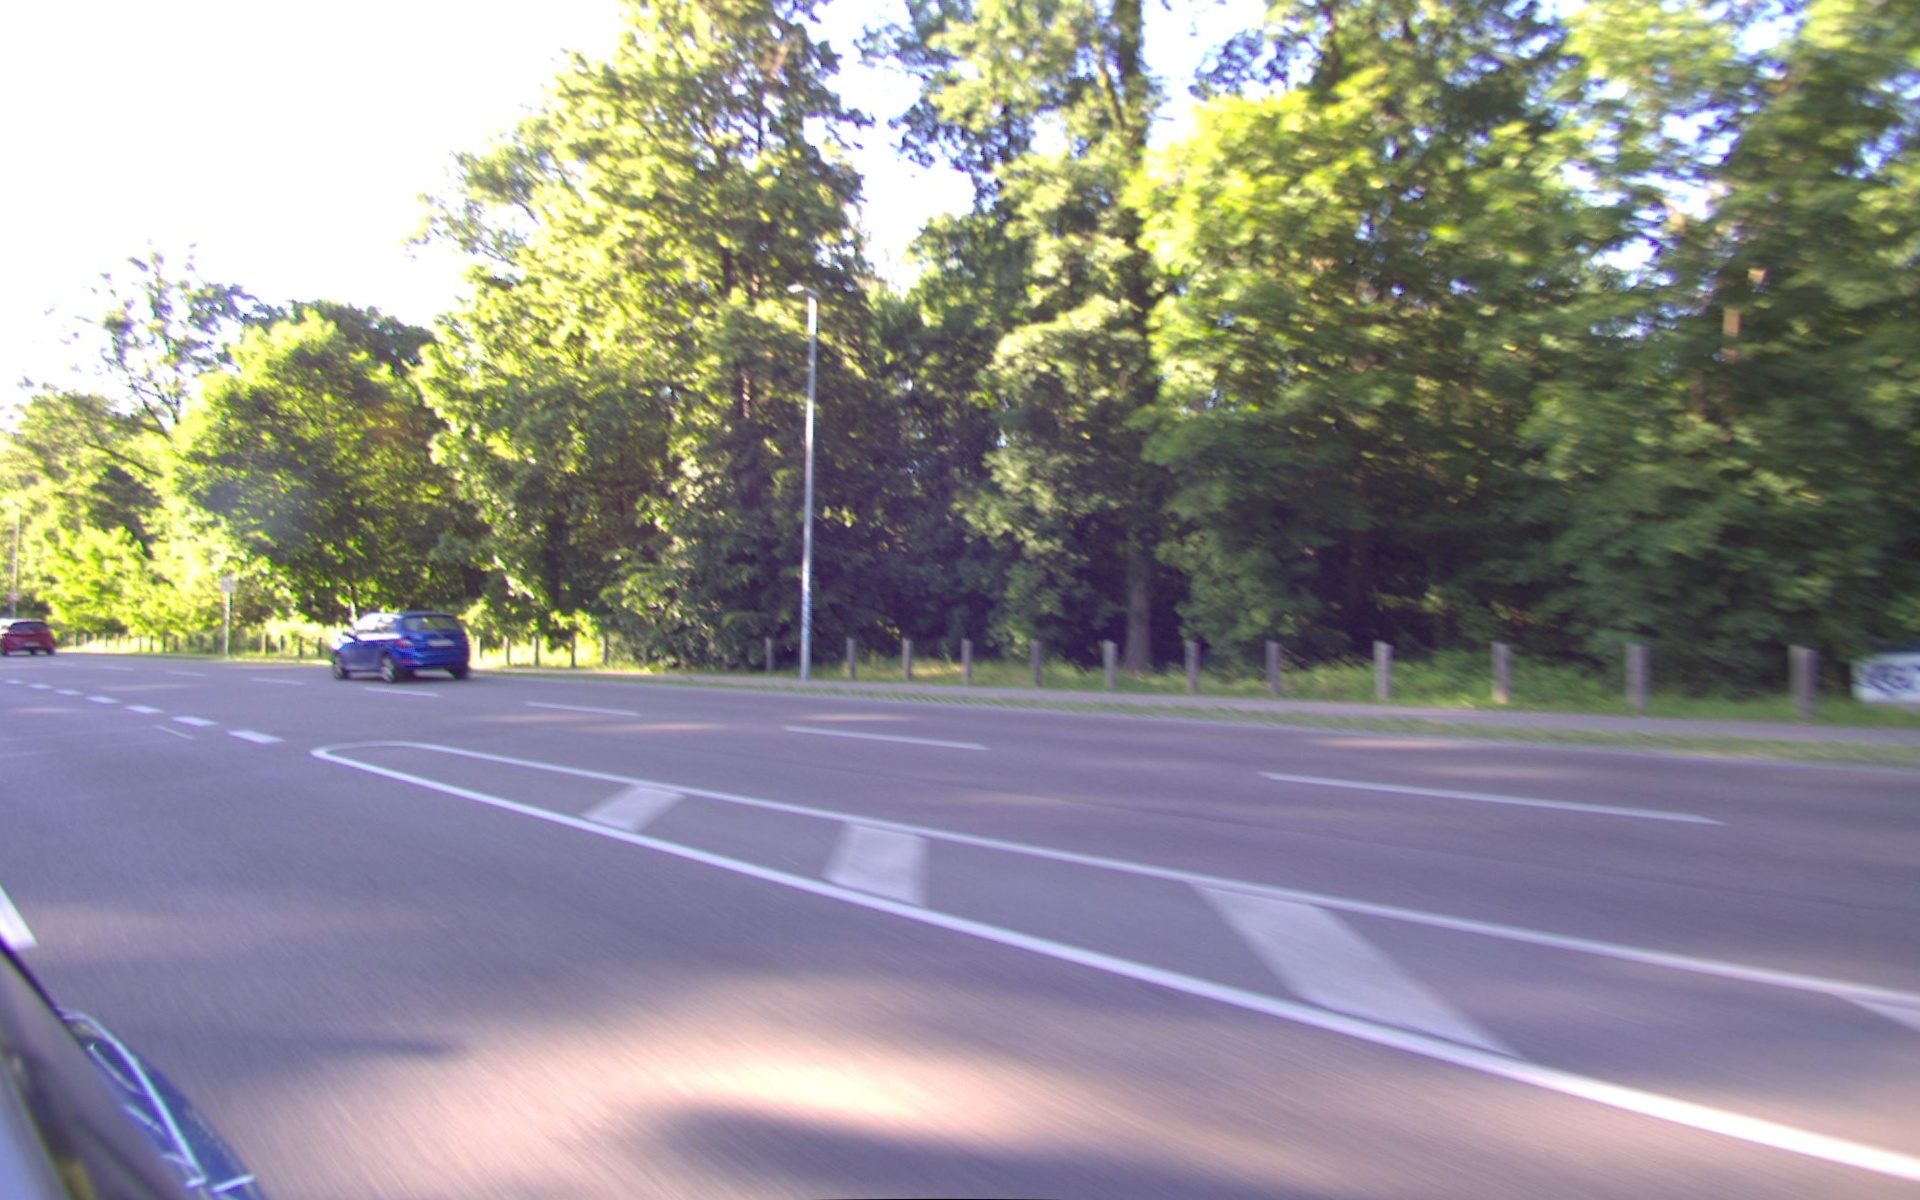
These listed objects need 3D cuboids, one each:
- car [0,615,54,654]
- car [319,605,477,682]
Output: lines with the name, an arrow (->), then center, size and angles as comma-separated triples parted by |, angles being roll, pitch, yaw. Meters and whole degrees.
car -> -38.766, 1.387, 41.497 | 3.800, 1.529, 1.648 | -1, -2, 37
car -> -12.291, 0.916, 22.058 | 3.995, 1.519, 1.639 | -1, -2, 39
